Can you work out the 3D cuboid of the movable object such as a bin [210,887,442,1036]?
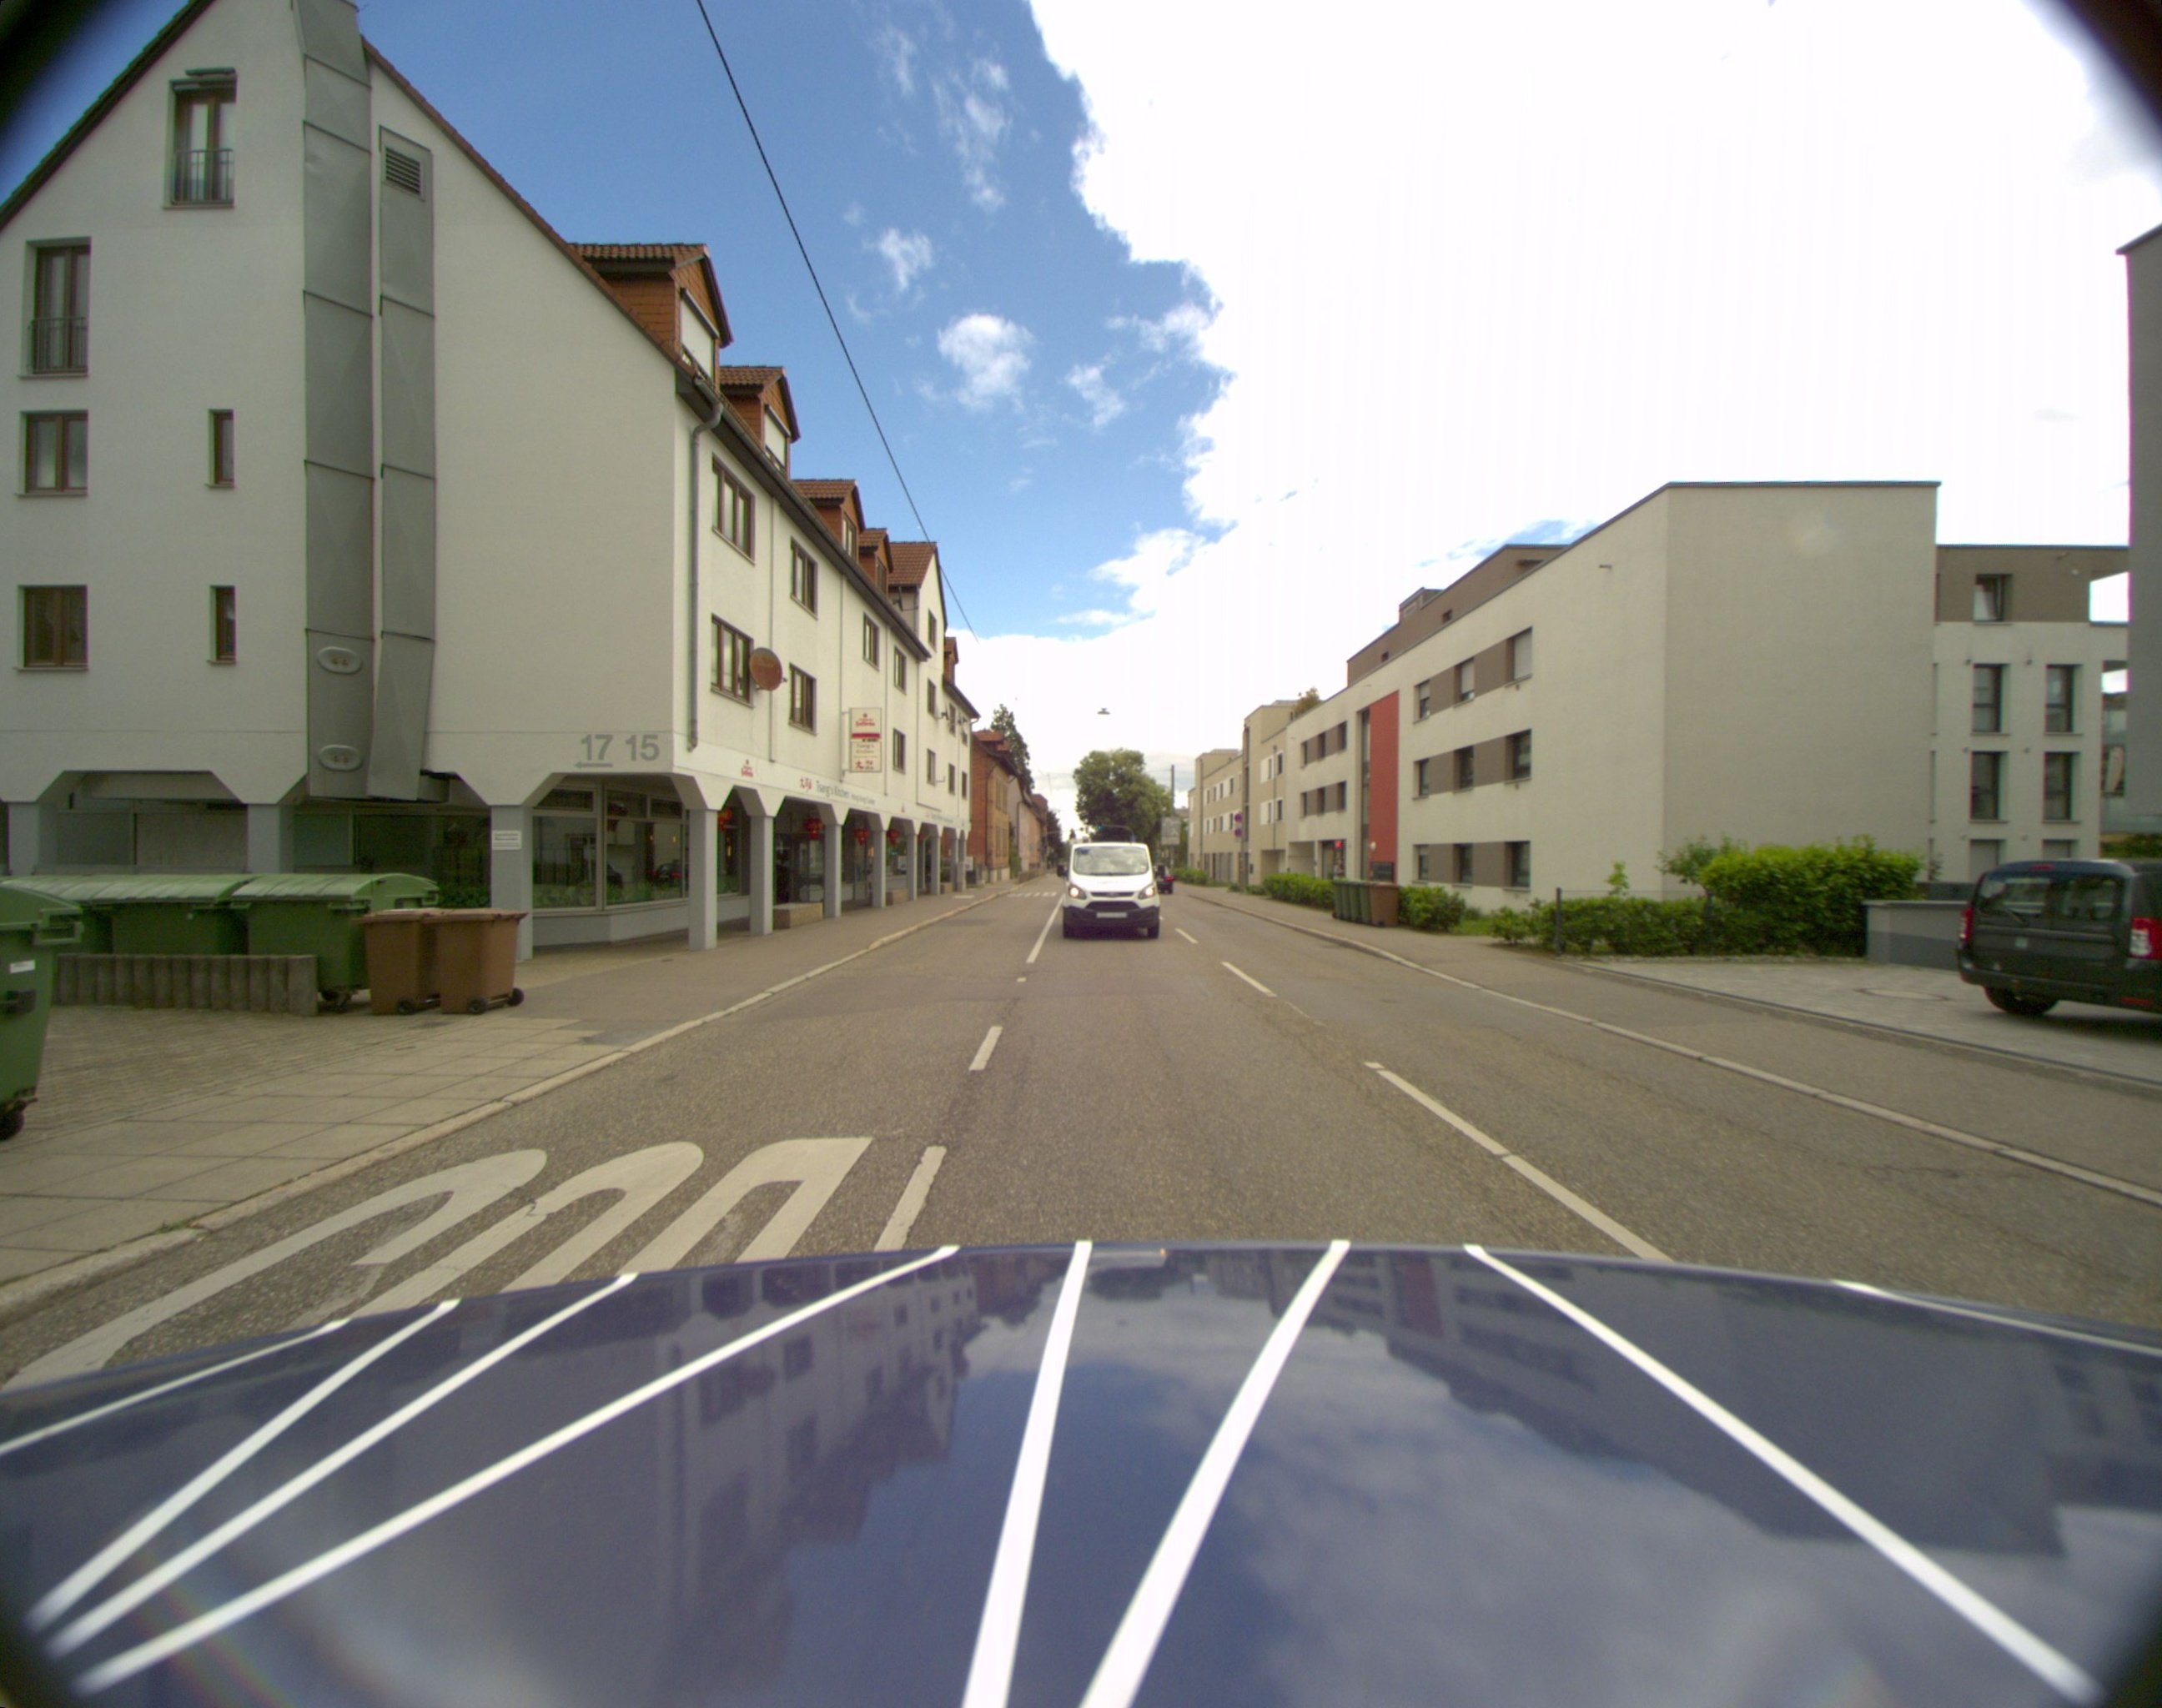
[{"bbox_3d":[-7.949,1.080,8.093,1.212,1.409,1.260,0,0,4],"label":"movable object such as a bin"}]

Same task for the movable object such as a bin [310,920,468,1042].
[{"bbox_3d":[-6.999,1.253,7.738,0.699,1.073,0.972,0,0,4],"label":"movable object such as a bin"}]

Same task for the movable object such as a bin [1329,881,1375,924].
[{"bbox_3d":[7.184,1.282,20.174,0.897,1.082,0.792,0,0,-4],"label":"movable object such as a bin"}]

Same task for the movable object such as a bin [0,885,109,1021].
[{"bbox_3d":[-12.103,1.069,8.359,1.212,1.409,1.260,0,0,4],"label":"movable object such as a bin"}]

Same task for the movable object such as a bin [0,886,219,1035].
[{"bbox_3d":[-10.576,1.077,8.158,1.212,1.409,1.260,0,0,4],"label":"movable object such as a bin"}]

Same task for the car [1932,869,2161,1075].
[{"bbox_3d":[11.030,1.016,7.025,4.172,1.658,1.725,1,1,4],"label":"car"}]

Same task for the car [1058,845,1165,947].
[{"bbox_3d":[0.570,0.811,17.121,2.062,1.945,5.060,0,0,0],"label":"car"}]

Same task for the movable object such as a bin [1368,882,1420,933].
[{"bbox_3d":[7.298,1.243,17.741,0.943,1.144,0.612,0,0,-4],"label":"movable object such as a bin"}]

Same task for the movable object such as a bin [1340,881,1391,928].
[{"bbox_3d":[7.223,1.266,19.308,0.959,1.144,0.840,0,0,-4],"label":"movable object such as a bin"}]

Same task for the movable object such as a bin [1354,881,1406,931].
[{"bbox_3d":[7.252,1.252,18.447,0.951,1.144,0.749,0,0,-4],"label":"movable object such as a bin"}]

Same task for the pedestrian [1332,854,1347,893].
[{"bbox_3d":[11.131,0.839,32.711,0.519,1.633,0.641,0,0,26],"label":"pedestrian"}]

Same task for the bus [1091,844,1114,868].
[{"bbox_3d":[2.979,0.280,109.531,2.950,3.254,12.008,2,0,0],"label":"bus"}]

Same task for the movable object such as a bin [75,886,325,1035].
[{"bbox_3d":[-9.315,1.077,8.120,1.212,1.409,1.260,0,0,4],"label":"movable object such as a bin"}]

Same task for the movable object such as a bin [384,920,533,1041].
[{"bbox_3d":[-6.267,1.242,7.706,0.685,1.061,0.972,0,0,4],"label":"movable object such as a bin"}]

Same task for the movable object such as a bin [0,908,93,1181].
[{"bbox_3d":[-6.317,1.010,3.783,1.270,1.409,1.162,0,0,1],"label":"movable object such as a bin"}]

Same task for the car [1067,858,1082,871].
[{"bbox_3d":[-0.781,1.252,89.493,1.755,1.485,3.986,0,0,0],"label":"car"}]

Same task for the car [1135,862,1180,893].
[{"bbox_3d":[4.012,1.231,40.329,1.883,1.442,4.214,3,0,0],"label":"car"}]
